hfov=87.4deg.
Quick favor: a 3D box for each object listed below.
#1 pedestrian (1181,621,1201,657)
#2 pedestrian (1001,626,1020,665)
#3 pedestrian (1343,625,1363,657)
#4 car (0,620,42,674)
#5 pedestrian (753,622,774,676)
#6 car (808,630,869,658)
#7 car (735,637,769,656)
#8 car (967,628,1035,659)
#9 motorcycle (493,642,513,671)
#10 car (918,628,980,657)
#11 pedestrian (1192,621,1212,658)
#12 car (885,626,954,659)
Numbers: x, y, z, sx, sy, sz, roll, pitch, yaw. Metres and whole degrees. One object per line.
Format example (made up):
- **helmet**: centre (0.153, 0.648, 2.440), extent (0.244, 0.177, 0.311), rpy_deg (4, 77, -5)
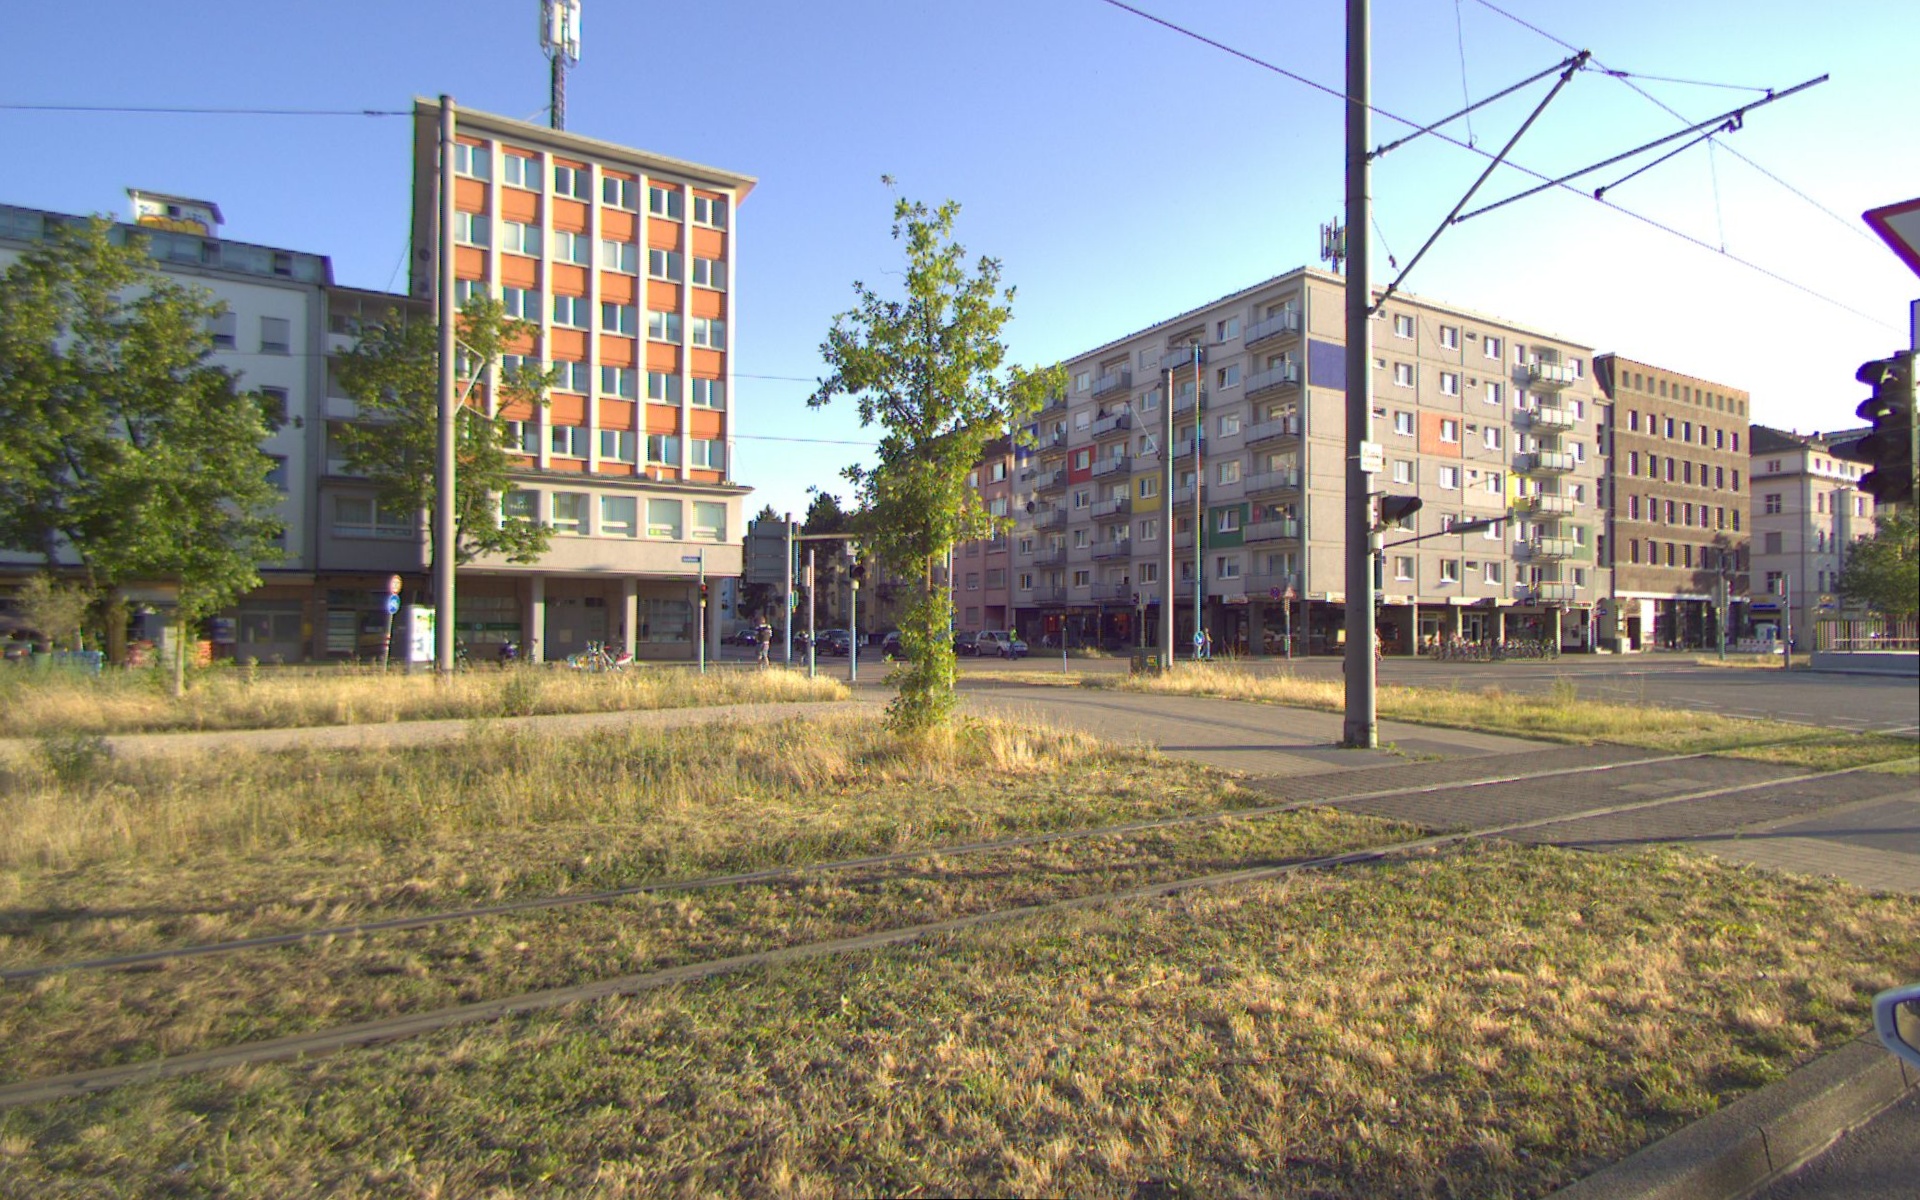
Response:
- **pedestrian**: centre (12.196, 2.057, 53.044), extent (0.728, 1.876, 0.701), rpy_deg (0, -1, -30)
- **pedestrian**: centre (2.480, 2.223, 49.136), extent (0.673, 1.872, 0.630), rpy_deg (-1, -1, -30)
- **pedestrian**: centre (20.954, 2.174, 53.569), extent (0.767, 1.692, 0.741), rpy_deg (-1, -1, 7)
- **car**: centre (-30.122, 1.412, 29.624), extent (4.213, 1.547, 1.758), rpy_deg (-1, -1, -8)
- **pedestrian**: centre (-6.616, 1.636, 33.842), extent (0.638, 1.786, 0.721), rpy_deg (-1, -1, -9)
- **car**: centre (-7.469, 2.664, 61.577), extent (1.969, 1.606, 4.252), rpy_deg (0, -1, -35)
- **car**: centre (-18.370, 4.128, 88.806), extent (1.804, 1.572, 3.969), rpy_deg (0, -1, -30)
- **car**: centre (2.239, 2.371, 55.402), extent (1.786, 1.606, 3.839), rpy_deg (0, -1, -35)
- **motorcycle**: centre (-17.382, 2.136, 38.203), extent (0.525, 1.082, 1.442), rpy_deg (0, -1, -31)
- **car**: centre (-0.664, 2.498, 59.220), extent (1.786, 1.606, 3.839), rpy_deg (0, -1, -35)
- **pedestrian**: centre (12.587, 2.043, 52.325), extent (0.812, 1.872, 0.599), rpy_deg (0, -1, -30)
- **car**: centre (-2.141, 2.224, 52.330), extent (1.786, 1.606, 3.840), rpy_deg (0, -2, -35)
